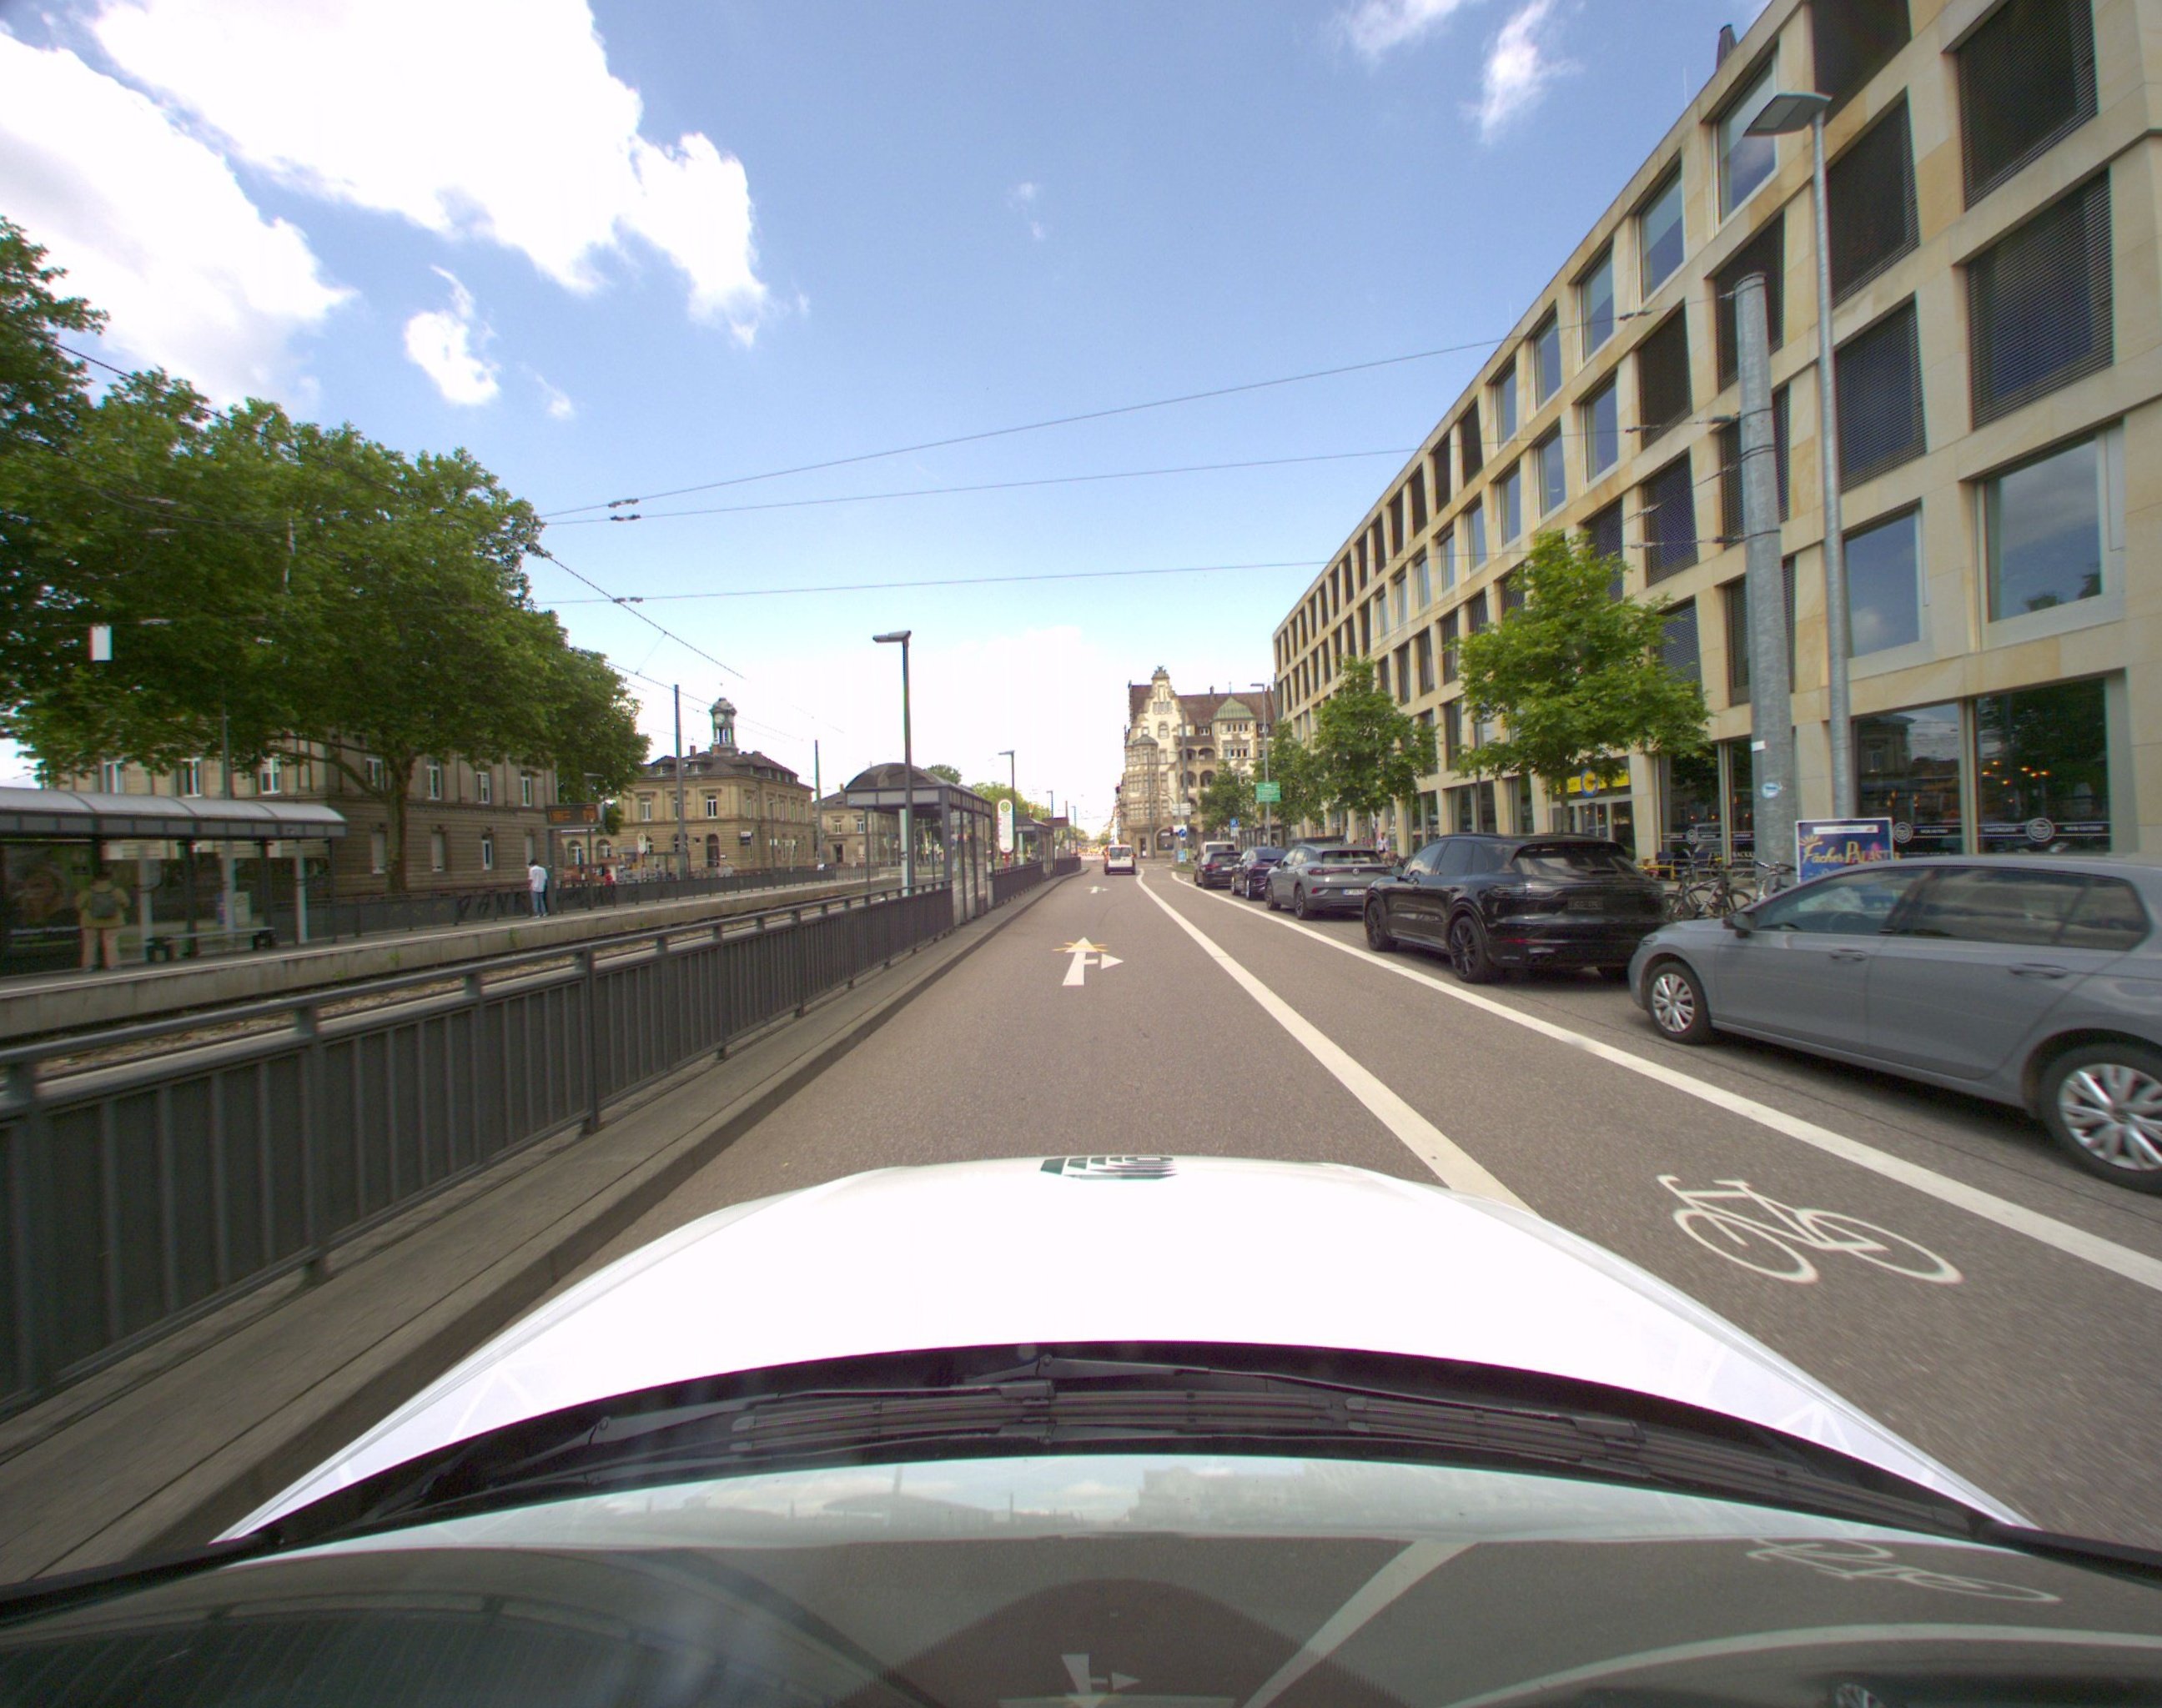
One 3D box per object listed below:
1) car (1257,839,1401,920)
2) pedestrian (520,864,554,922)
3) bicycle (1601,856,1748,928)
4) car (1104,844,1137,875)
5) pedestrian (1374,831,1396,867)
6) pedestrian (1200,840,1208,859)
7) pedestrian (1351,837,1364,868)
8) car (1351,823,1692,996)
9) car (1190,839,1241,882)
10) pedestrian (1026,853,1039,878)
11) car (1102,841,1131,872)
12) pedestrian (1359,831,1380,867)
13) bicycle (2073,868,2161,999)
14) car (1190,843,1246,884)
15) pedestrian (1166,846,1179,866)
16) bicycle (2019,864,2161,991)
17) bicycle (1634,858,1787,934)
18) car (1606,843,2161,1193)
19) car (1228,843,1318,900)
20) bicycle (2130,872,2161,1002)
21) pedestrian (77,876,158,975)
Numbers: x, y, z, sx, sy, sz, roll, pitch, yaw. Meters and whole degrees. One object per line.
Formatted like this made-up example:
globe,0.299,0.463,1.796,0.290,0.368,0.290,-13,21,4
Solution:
car,5.443,0.477,18.552,1.801,1.591,4.840,-1,1,0
pedestrian,-16.400,1.163,24.578,0.498,1.683,0.643,-3,0,2
bicycle,9.370,0.586,12.896,1.815,1.030,0.585,-3,0,4
car,2.401,0.311,50.013,1.862,1.746,4.001,-1,0,1
pedestrian,14.829,-0.244,39.710,0.757,1.670,0.659,-3,0,1
pedestrian,10.492,-0.403,69.382,0.532,1.572,0.542,-4,0,0
pedestrian,13.452,-0.082,39.586,0.437,1.448,0.434,-3,0,1
car,5.108,0.510,10.372,1.732,1.669,4.840,-1,1,0
car,5.936,0.254,36.218,1.704,1.796,3.361,-1,1,0
pedestrian,-2.345,0.556,39.595,0.511,1.140,0.501,-4,0,1
car,2.422,0.118,56.132,1.862,2.020,4.001,-1,0,1
pedestrian,14.062,-0.240,39.712,0.757,1.723,0.659,-3,0,1
bicycle,9.126,0.599,6.585,1.746,0.986,0.326,-3,0,0
car,5.214,0.319,31.363,1.438,1.470,4.092,-1,1,0
pedestrian,7.613,0.158,67.731,0.807,1.572,0.626,-4,0,-15
bicycle,9.086,0.600,6.945,1.746,0.986,0.326,-3,0,0
bicycle,9.281,0.616,12.042,1.815,1.030,0.433,-3,0,4
car,5.271,0.664,4.903,1.586,1.434,4.106,-1,1,0
car,5.766,0.463,24.995,1.800,1.591,4.306,-1,1,1
bicycle,9.153,0.599,6.242,1.746,0.986,0.326,-3,0,0
pedestrian,-15.955,1.172,13.505,0.498,1.558,0.643,-3,0,2
